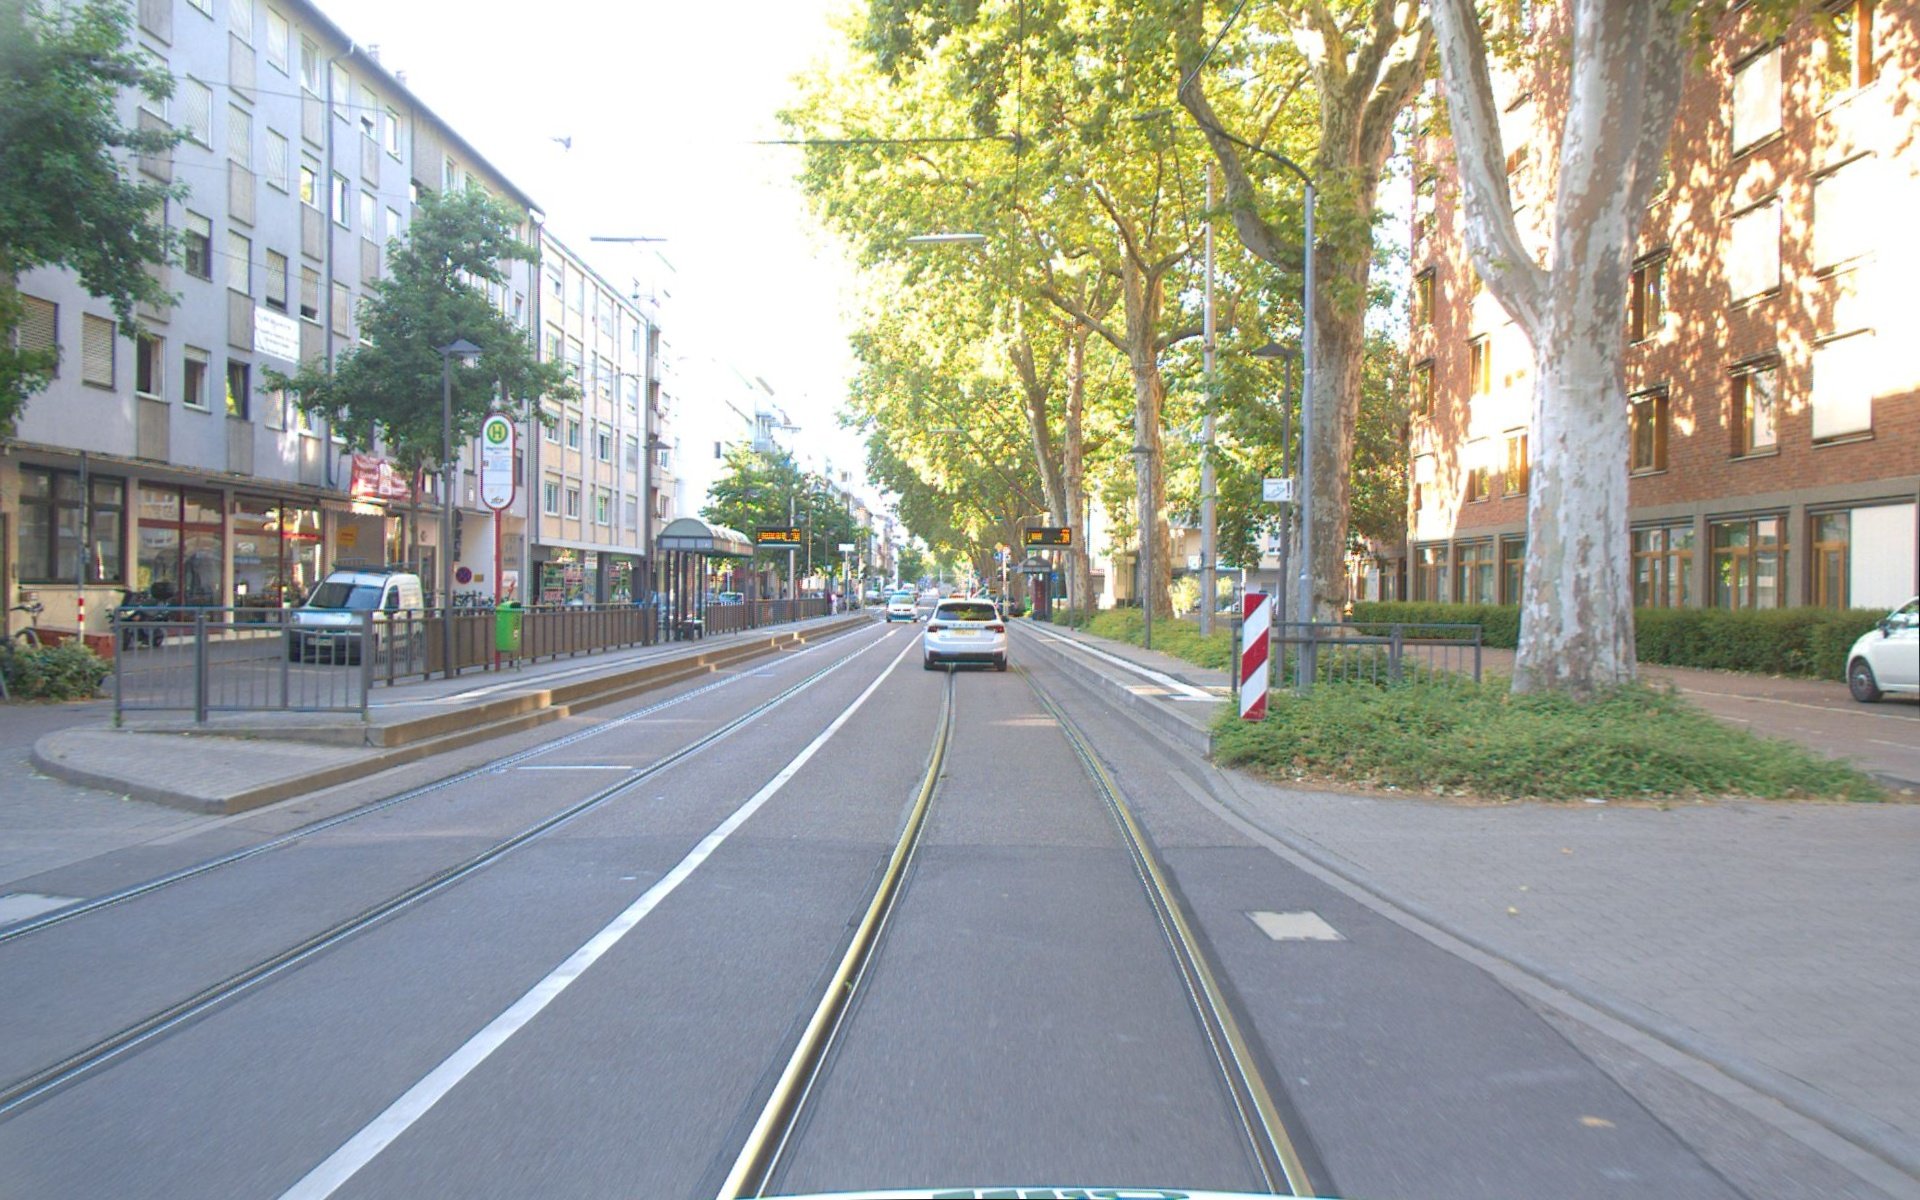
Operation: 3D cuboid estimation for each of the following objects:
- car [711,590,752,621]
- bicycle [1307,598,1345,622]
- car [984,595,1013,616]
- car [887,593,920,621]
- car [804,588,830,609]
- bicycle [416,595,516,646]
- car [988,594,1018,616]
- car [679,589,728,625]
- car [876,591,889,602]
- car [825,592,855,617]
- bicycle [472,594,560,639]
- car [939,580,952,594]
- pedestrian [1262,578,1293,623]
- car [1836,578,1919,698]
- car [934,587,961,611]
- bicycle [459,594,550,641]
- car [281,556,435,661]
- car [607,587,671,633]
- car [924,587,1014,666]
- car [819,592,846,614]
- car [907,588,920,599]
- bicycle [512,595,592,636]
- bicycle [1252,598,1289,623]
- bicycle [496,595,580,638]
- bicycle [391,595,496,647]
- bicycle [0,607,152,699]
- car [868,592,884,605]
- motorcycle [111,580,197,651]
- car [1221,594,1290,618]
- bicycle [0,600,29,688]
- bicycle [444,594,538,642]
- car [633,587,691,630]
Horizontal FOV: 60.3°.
[{"bbox_3d":[-12.412,0.260,90.067,1.644,1.575,4.000,3,0,0],"label":"car"},{"bbox_3d":[15.822,0.432,71.539,1.534,1.055,0.479,0,0,21],"label":"bicycle"},{"bbox_3d":[2.780,0.352,119.435,1.953,1.478,4.000,0,0,0],"label":"car"},{"bbox_3d":[-3.066,0.367,90.525,1.659,1.444,4.000,0,0,0],"label":"car"},{"bbox_3d":[-11.398,-0.140,131.873,1.644,1.575,4.000,3,0,0],"label":"car"},{"bbox_3d":[-12.146,0.499,40.701,2.207,1.092,0.636,4,0,1],"label":"bicycle"},{"bbox_3d":[2.981,0.334,114.351,1.953,1.478,4.000,0,0,0],"label":"car"},{"bbox_3d":[-12.040,0.295,77.913,1.644,1.575,4.000,3,0,0],"label":"car"},{"bbox_3d":[-11.298,-0.500,242.632,1.752,1.540,4.000,0,0,0],"label":"car"},{"bbox_3d":[-8.136,0.290,112.399,1.644,1.575,4.000,3,0,0],"label":"car"},{"bbox_3d":[-12.380,0.461,46.143,2.207,1.092,0.636,4,0,1],"label":"bicycle"},{"bbox_3d":[-2.051,-1.806,235.140,1.828,1.925,4.000,0,0,0],"label":"car"},{"bbox_3d":[11.664,0.021,60.764,0.952,1.652,0.887,0,0,-1],"label":"pedestrian"},{"bbox_3d":[12.993,0.484,21.291,1.568,1.521,3.416,0,0,-2],"label":"car"},{"bbox_3d":[-0.851,-0.090,109.970,1.752,1.540,4.000,0,0,0],"label":"car"},{"bbox_3d":[-12.224,0.467,44.397,2.207,1.092,0.636,4,0,1],"label":"bicycle"},{"bbox_3d":[-11.989,0.151,33.207,1.653,1.974,4.000,0,0,0],"label":"car"},{"bbox_3d":[-11.896,0.335,61.497,1.561,1.575,4.000,2,0,0],"label":"car"},{"bbox_3d":[0.174,0.502,34.241,1.752,1.540,4.000,0,0,0],"label":"car"},{"bbox_3d":[-9.559,0.194,124.133,1.644,1.575,4.000,3,0,0],"label":"car"},{"bbox_3d":[-6.639,-0.961,237.875,1.752,1.540,4.000,0,0,0],"label":"car"},{"bbox_3d":[-12.262,0.467,49.741,2.207,1.092,0.636,4,0,1],"label":"bicycle"},{"bbox_3d":[13.571,0.459,72.226,1.534,1.055,0.504,0,0,21],"label":"bicycle"},{"bbox_3d":[-12.243,0.472,47.975,2.207,1.092,0.636,4,0,1],"label":"bicycle"},{"bbox_3d":[-12.184,0.490,39.053,2.207,1.092,0.636,4,0,1],"label":"bicycle"},{"bbox_3d":[-11.706,0.694,21.910,1.503,1.093,0.885,3,0,-1],"label":"bicycle"},{"bbox_3d":[-10.560,-0.217,208.124,1.752,1.540,4.000,0,0,0],"label":"car"},{"bbox_3d":[-15.552,0.284,31.981,0.586,1.334,2.222,0,0,0],"label":"motorcycle"},{"bbox_3d":[18.020,0.349,100.843,3.904,1.396,1.867,0,0,2],"label":"car"},{"bbox_3d":[-12.700,0.570,21.232,0.488,1.127,1.799,4,0,-3],"label":"bicycle"},{"bbox_3d":[-12.228,0.471,43.134,2.207,1.092,0.636,4,0,1],"label":"bicycle"},{"bbox_3d":[-11.947,0.321,66.562,1.561,1.575,4.000,2,0,0],"label":"car"}]
